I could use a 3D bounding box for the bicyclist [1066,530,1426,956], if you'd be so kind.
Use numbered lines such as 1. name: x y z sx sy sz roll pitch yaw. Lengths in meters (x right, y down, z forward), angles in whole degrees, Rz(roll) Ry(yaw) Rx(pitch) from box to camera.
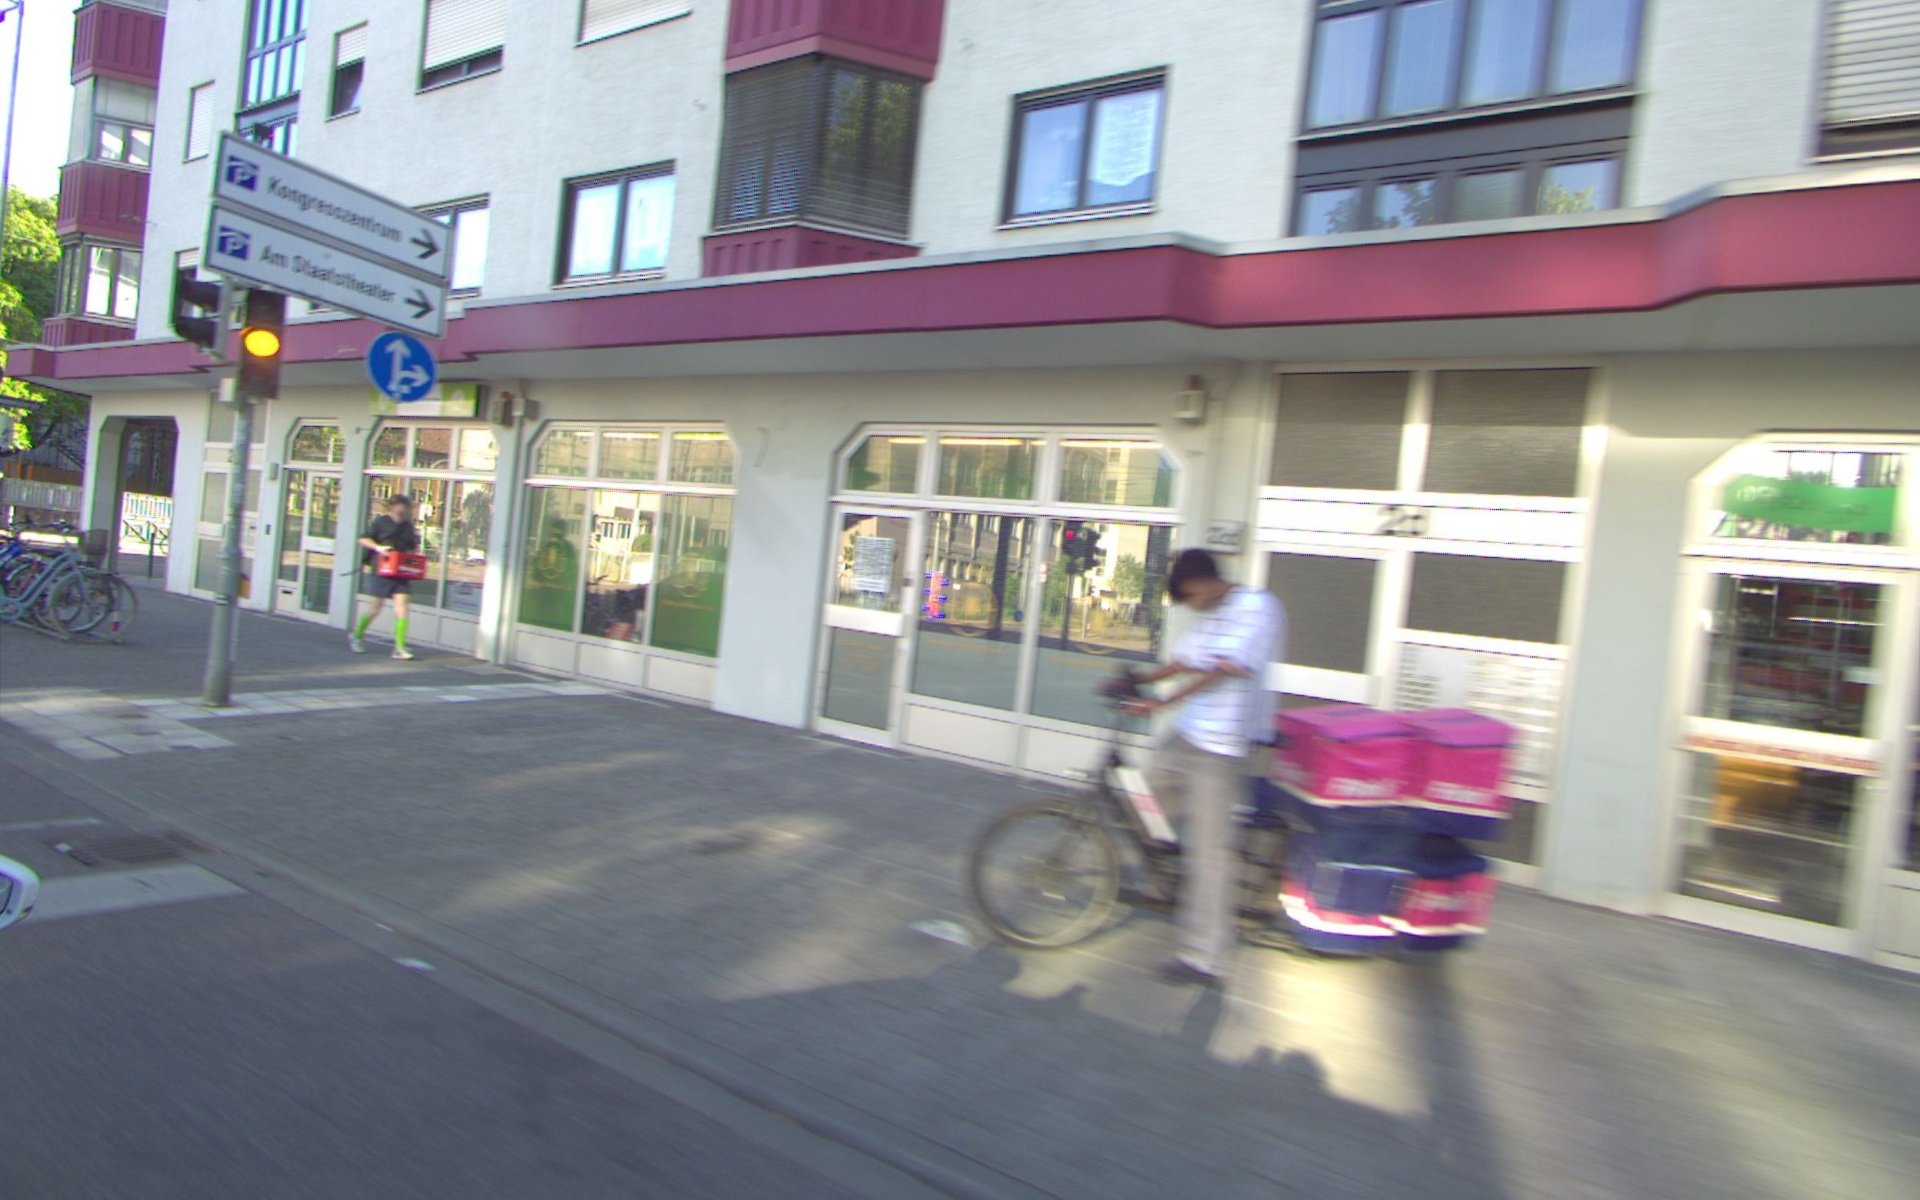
1. bicyclist: 1.172 0.568 4.428 1.060 1.559 1.059 6 1 -5

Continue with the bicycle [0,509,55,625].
1. bicycle: -10.662 -0.404 10.536 0.488 1.214 1.622 7 0 36

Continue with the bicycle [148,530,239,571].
1. bicycle: -26.511 -1.695 34.849 0.830 1.133 2.331 7 0 21

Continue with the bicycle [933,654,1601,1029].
1. bicycle: 1.237 1.006 4.456 2.552 1.198 0.962 7 0 -6

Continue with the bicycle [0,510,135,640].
1. bicycle: -9.428 -0.268 9.830 0.580 1.214 1.980 6 0 27

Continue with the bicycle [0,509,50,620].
1. bicycle: -11.240 -0.458 10.987 0.537 1.214 1.801 5 -1 36

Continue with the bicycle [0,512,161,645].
1. bicycle: -8.898 -0.213 9.533 0.562 1.185 1.943 6 0 29

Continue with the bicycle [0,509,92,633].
1. bicycle: -10.165 -0.342 10.277 0.488 1.236 1.831 7 0 35

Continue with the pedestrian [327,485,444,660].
1. pedestrian: -6.572 -0.303 11.511 0.788 1.881 0.723 7 1 31

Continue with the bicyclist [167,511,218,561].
1. bicyclist: -26.505 -2.209 34.753 0.993 1.528 0.928 7 1 21
